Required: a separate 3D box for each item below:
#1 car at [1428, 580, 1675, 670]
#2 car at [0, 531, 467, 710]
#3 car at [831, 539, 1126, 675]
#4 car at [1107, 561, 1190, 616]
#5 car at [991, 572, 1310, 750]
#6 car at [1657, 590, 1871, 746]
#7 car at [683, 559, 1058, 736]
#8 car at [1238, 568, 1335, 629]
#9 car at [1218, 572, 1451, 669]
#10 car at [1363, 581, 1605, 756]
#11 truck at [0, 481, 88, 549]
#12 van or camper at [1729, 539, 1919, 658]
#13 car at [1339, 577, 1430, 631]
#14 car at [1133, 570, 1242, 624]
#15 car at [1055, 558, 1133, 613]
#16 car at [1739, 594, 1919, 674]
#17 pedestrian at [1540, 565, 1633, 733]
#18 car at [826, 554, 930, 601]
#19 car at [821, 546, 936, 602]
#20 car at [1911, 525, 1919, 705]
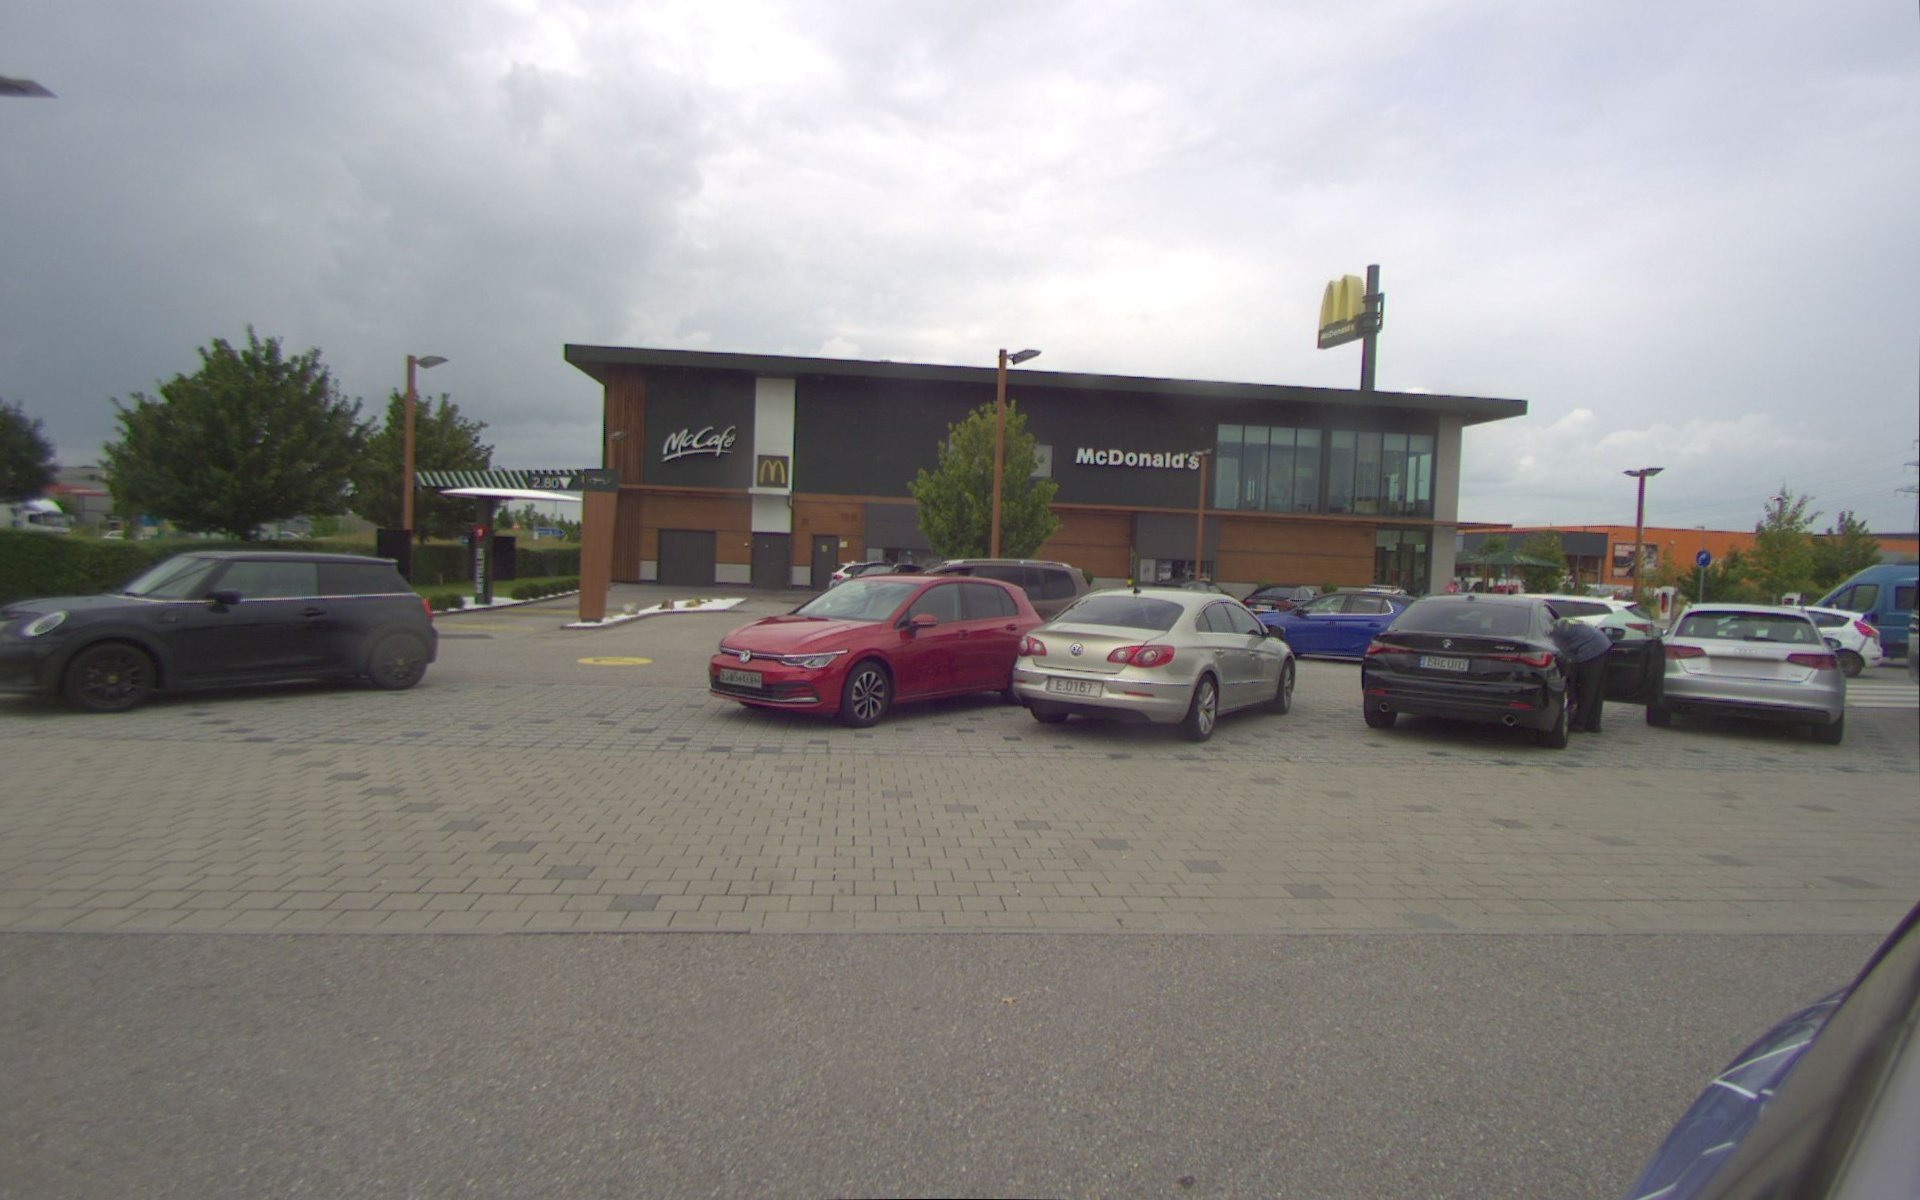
[{"bbox_3d":[11.812,0.455,20.337,4.085,1.485,1.757,4,0,35],"label":"car"},{"bbox_3d":[-7.293,0.125,10.172,1.676,1.429,3.883,3,2,33],"label":"car"},{"bbox_3d":[0.180,0.072,15.238,4.105,1.710,1.814,3,2,-8],"label":"car"},{"bbox_3d":[6.963,-0.476,37.799,1.717,1.774,4.008,3,3,-8],"label":"car"},{"bbox_3d":[2.230,0.490,10.711,1.741,1.429,4.406,3,2,33],"label":"car"},{"bbox_3d":[9.502,0.668,12.012,1.679,1.469,3.943,3,2,39],"label":"car"},{"bbox_3d":[-0.767,0.387,10.725,1.679,1.482,3.943,3,2,39],"label":"car"},{"bbox_3d":[10.808,-0.108,33.354,1.886,1.681,4.208,5,5,34],"label":"car"},{"bbox_3d":[7.473,0.342,20.377,3.983,1.528,1.744,6,3,39],"label":"car"},{"bbox_3d":[5.903,0.591,11.119,1.678,1.481,4.349,3,2,36],"label":"car"},{"bbox_3d":[-70.083,-6.330,72.384,11.762,4.553,3.772,3,2,-3],"label":"truck"},{"bbox_3d":[22.683,-0.036,24.272,6.551,2.734,2.139,3,1,43],"label":"van or camper"},{"bbox_3d":[14.373,0.088,34.156,1.782,1.504,3.946,6,6,38],"label":"car"},{"bbox_3d":[7.468,-0.136,33.044,1.830,1.593,4.035,4,3,39],"label":"car"},{"bbox_3d":[4.867,-0.591,37.355,1.717,1.774,4.008,3,3,-8],"label":"car"},{"bbox_3d":[18.672,0.684,21.233,3.553,1.471,1.818,3,2,36],"label":"car"},{"bbox_3d":[6.684,0.487,10.789,0.745,1.699,0.831,1,0,38],"label":"pedestrian"},{"bbox_3d":[-3.239,-0.897,39.662,3.919,1.524,1.792,3,2,-7],"label":"car"},{"bbox_3d":[-2.539,-0.823,32.459,1.736,1.603,3.864,5,3,30],"label":"car"},{"bbox_3d":[12.832,0.234,11.430,2.061,2.585,6.922,3,1,36],"label":"car"}]
